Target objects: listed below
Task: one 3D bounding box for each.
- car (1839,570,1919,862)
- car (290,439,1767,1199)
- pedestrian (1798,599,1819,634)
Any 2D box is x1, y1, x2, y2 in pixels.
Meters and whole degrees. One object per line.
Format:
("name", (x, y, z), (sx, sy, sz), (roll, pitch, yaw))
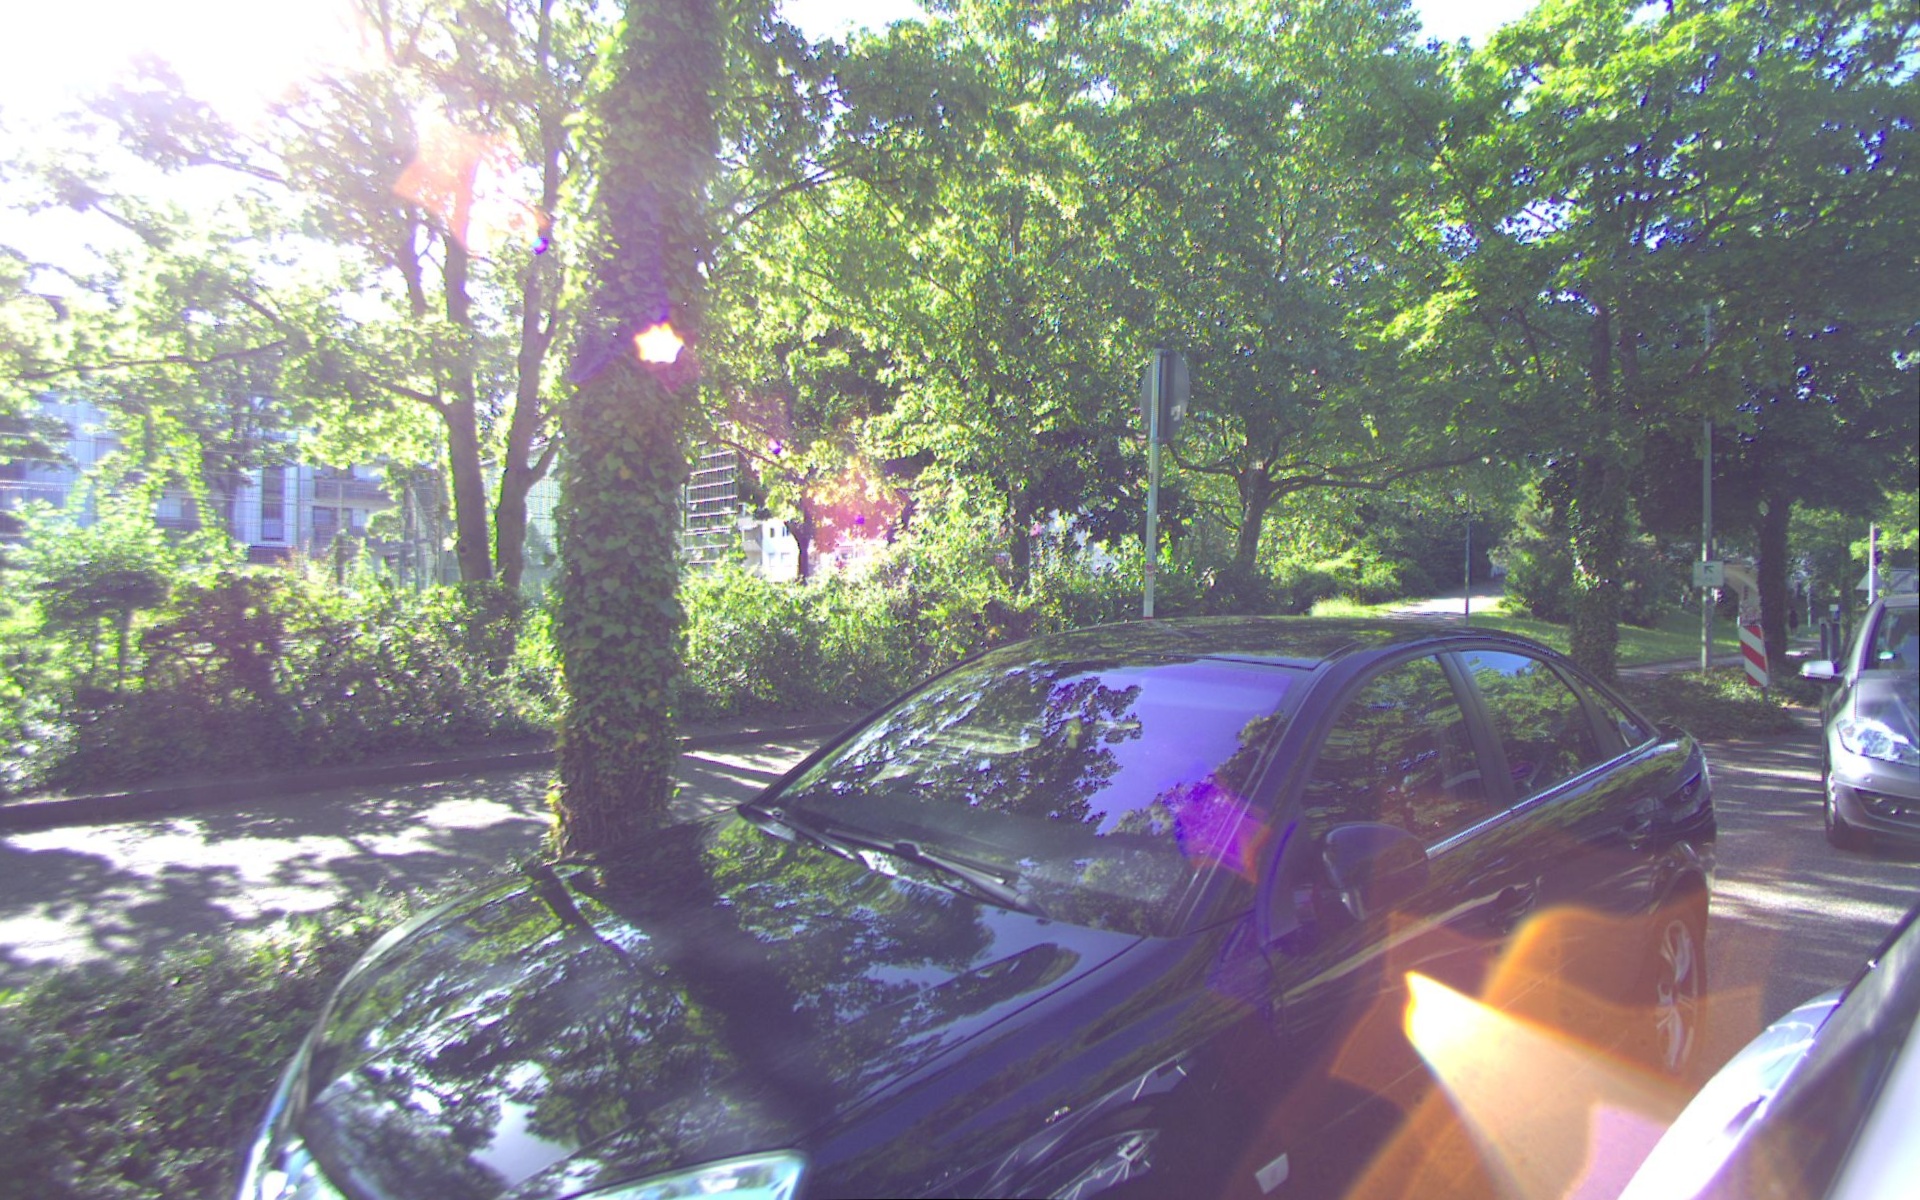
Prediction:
("car", (6.991, 0.648, 6.703), (1.728, 1.607, 3.940), (0, -1, 41))
("car", (0.638, 0.611, 2.774), (3.960, 1.499, 1.751), (-1, 0, -41))
("pedestrian", (45.672, 0.875, 54.469), (0.660, 1.855, 0.792), (1, -1, -42))
